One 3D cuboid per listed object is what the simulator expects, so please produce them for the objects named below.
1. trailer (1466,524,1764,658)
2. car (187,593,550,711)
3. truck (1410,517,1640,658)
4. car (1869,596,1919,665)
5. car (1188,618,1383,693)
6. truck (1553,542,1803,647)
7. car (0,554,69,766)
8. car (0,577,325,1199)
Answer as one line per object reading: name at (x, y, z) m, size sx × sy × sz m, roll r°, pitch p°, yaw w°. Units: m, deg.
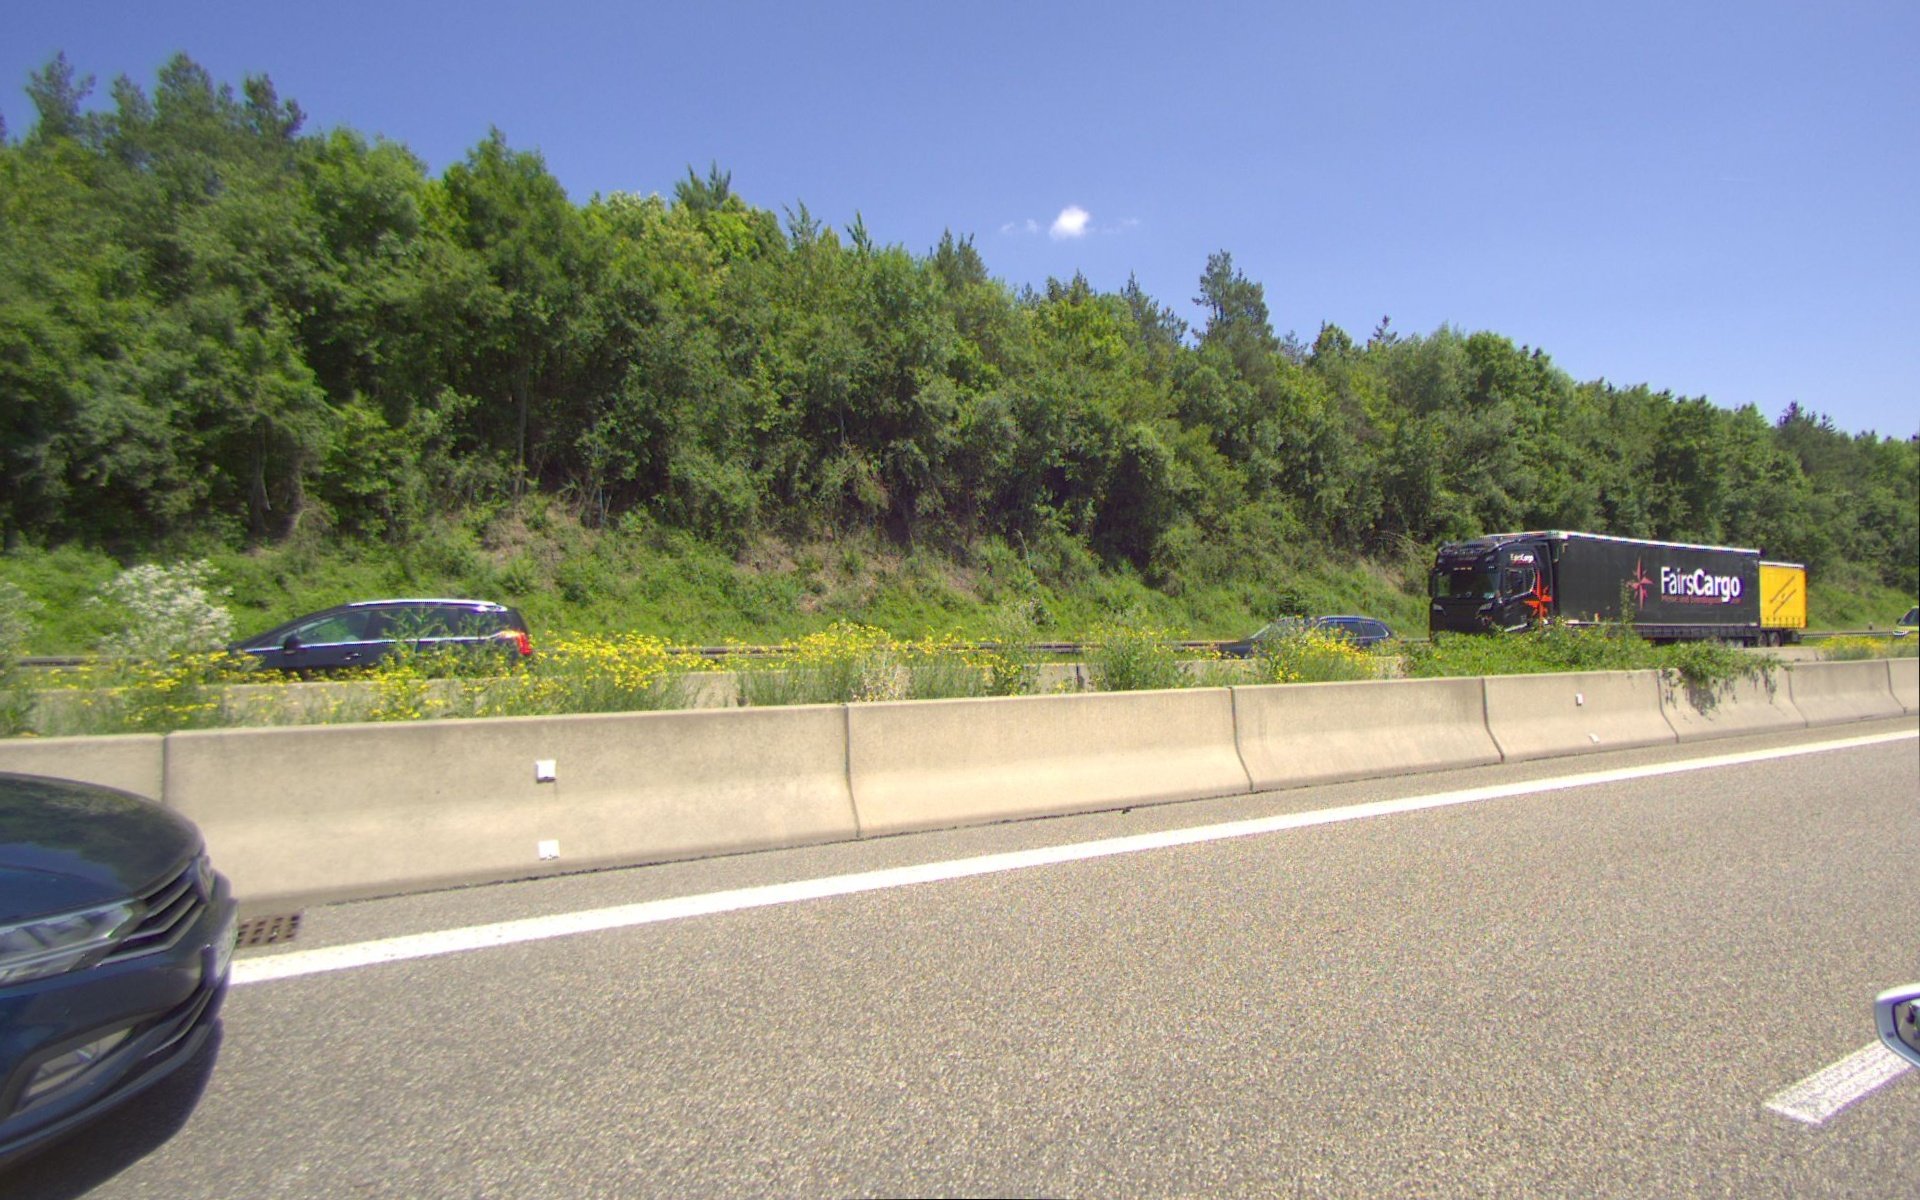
trailer at (23.028, -0.009, 34.835) m, size 13.728 × 4.026 × 2.892 m, roll 2°, pitch -3°, yaw -31°
car at (-7.719, 0.654, 13.437) m, size 3.954 × 1.384 × 1.556 m, roll 1°, pitch -1°, yaw -31°
truck at (17.962, -0.184, 31.788) m, size 7.679 × 4.026 × 2.892 m, roll 2°, pitch -3°, yaw -31°
car at (30.267, 0.976, 31.087) m, size 4.416 × 2.039 × 1.871 m, roll 2°, pitch -4°, yaw -30°
car at (6.626, 1.070, 20.334) m, size 3.954 × 1.384 × 1.556 m, roll 1°, pitch -1°, yaw -31°
truck at (32.589, -0.003, 45.097) m, size 16.080 × 4.035 × 3.022 m, roll 2°, pitch -2°, yaw -31°
car at (-9.000, 0.423, 6.967) m, size 3.954 × 1.539 × 1.555 m, roll 1°, pitch -1°, yaw -31°
car at (-4.057, 0.667, 1.942) m, size 4.674 × 1.446 × 1.724 m, roll 1°, pitch -2°, yaw -30°
